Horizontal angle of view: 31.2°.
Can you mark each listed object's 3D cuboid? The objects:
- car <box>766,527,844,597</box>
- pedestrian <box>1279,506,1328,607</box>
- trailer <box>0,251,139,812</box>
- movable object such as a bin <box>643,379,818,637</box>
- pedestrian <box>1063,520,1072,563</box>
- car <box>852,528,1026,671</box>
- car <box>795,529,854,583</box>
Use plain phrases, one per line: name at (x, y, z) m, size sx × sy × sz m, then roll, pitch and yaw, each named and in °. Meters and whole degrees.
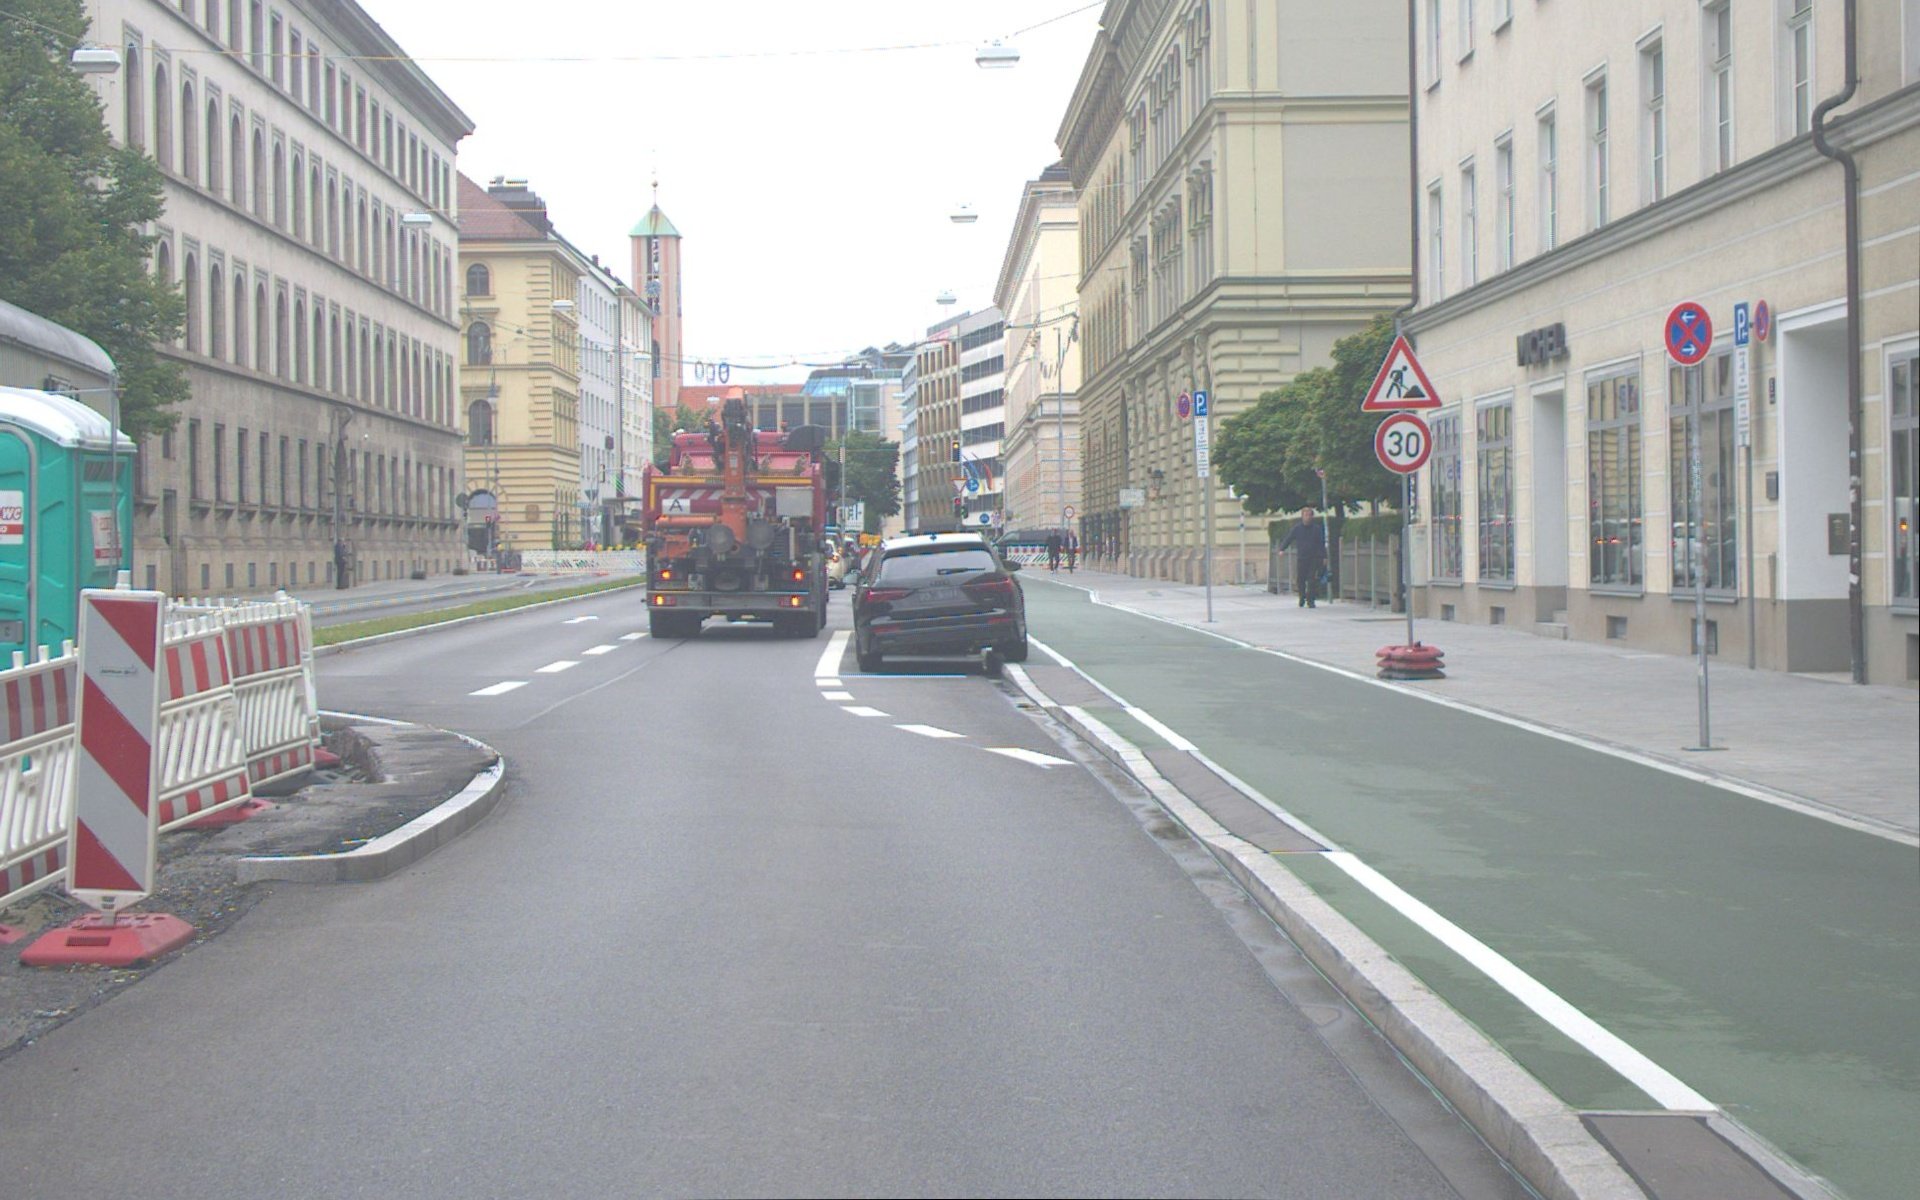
car at (-3.384, -0.849, 75.669) m, size 1.610 × 1.490 × 3.425 m, roll -1°, pitch 1°, yaw -1°
pedestrian at (6.271, -0.799, 62.826) m, size 0.790 × 1.830 × 0.777 m, roll -1°, pitch 1°, yaw 0°
trailer at (-6.853, -0.432, 21.723) m, size 2.226 × 3.232 × 7.521 m, roll -1°, pitch 1°, yaw -6°
movable object such as a bin at (-3.321, -1.345, 50.889) m, size 2.423 × 3.599 × 5.852 m, roll 0°, pitch 1°, yaw -2°
pedestrian at (4.207, -2.283, 134.628) m, size 0.337 × 1.666 × 0.440 m, roll -1°, pitch 1°, yaw 0°
car at (-0.295, -0.054, 38.958) m, size 1.801 × 1.475 × 4.687 m, roll -1°, pitch 1°, yaw -2°
car at (-3.831, -1.257, 97.514) m, size 1.610 × 1.490 × 3.425 m, roll -1°, pitch 1°, yaw -1°
